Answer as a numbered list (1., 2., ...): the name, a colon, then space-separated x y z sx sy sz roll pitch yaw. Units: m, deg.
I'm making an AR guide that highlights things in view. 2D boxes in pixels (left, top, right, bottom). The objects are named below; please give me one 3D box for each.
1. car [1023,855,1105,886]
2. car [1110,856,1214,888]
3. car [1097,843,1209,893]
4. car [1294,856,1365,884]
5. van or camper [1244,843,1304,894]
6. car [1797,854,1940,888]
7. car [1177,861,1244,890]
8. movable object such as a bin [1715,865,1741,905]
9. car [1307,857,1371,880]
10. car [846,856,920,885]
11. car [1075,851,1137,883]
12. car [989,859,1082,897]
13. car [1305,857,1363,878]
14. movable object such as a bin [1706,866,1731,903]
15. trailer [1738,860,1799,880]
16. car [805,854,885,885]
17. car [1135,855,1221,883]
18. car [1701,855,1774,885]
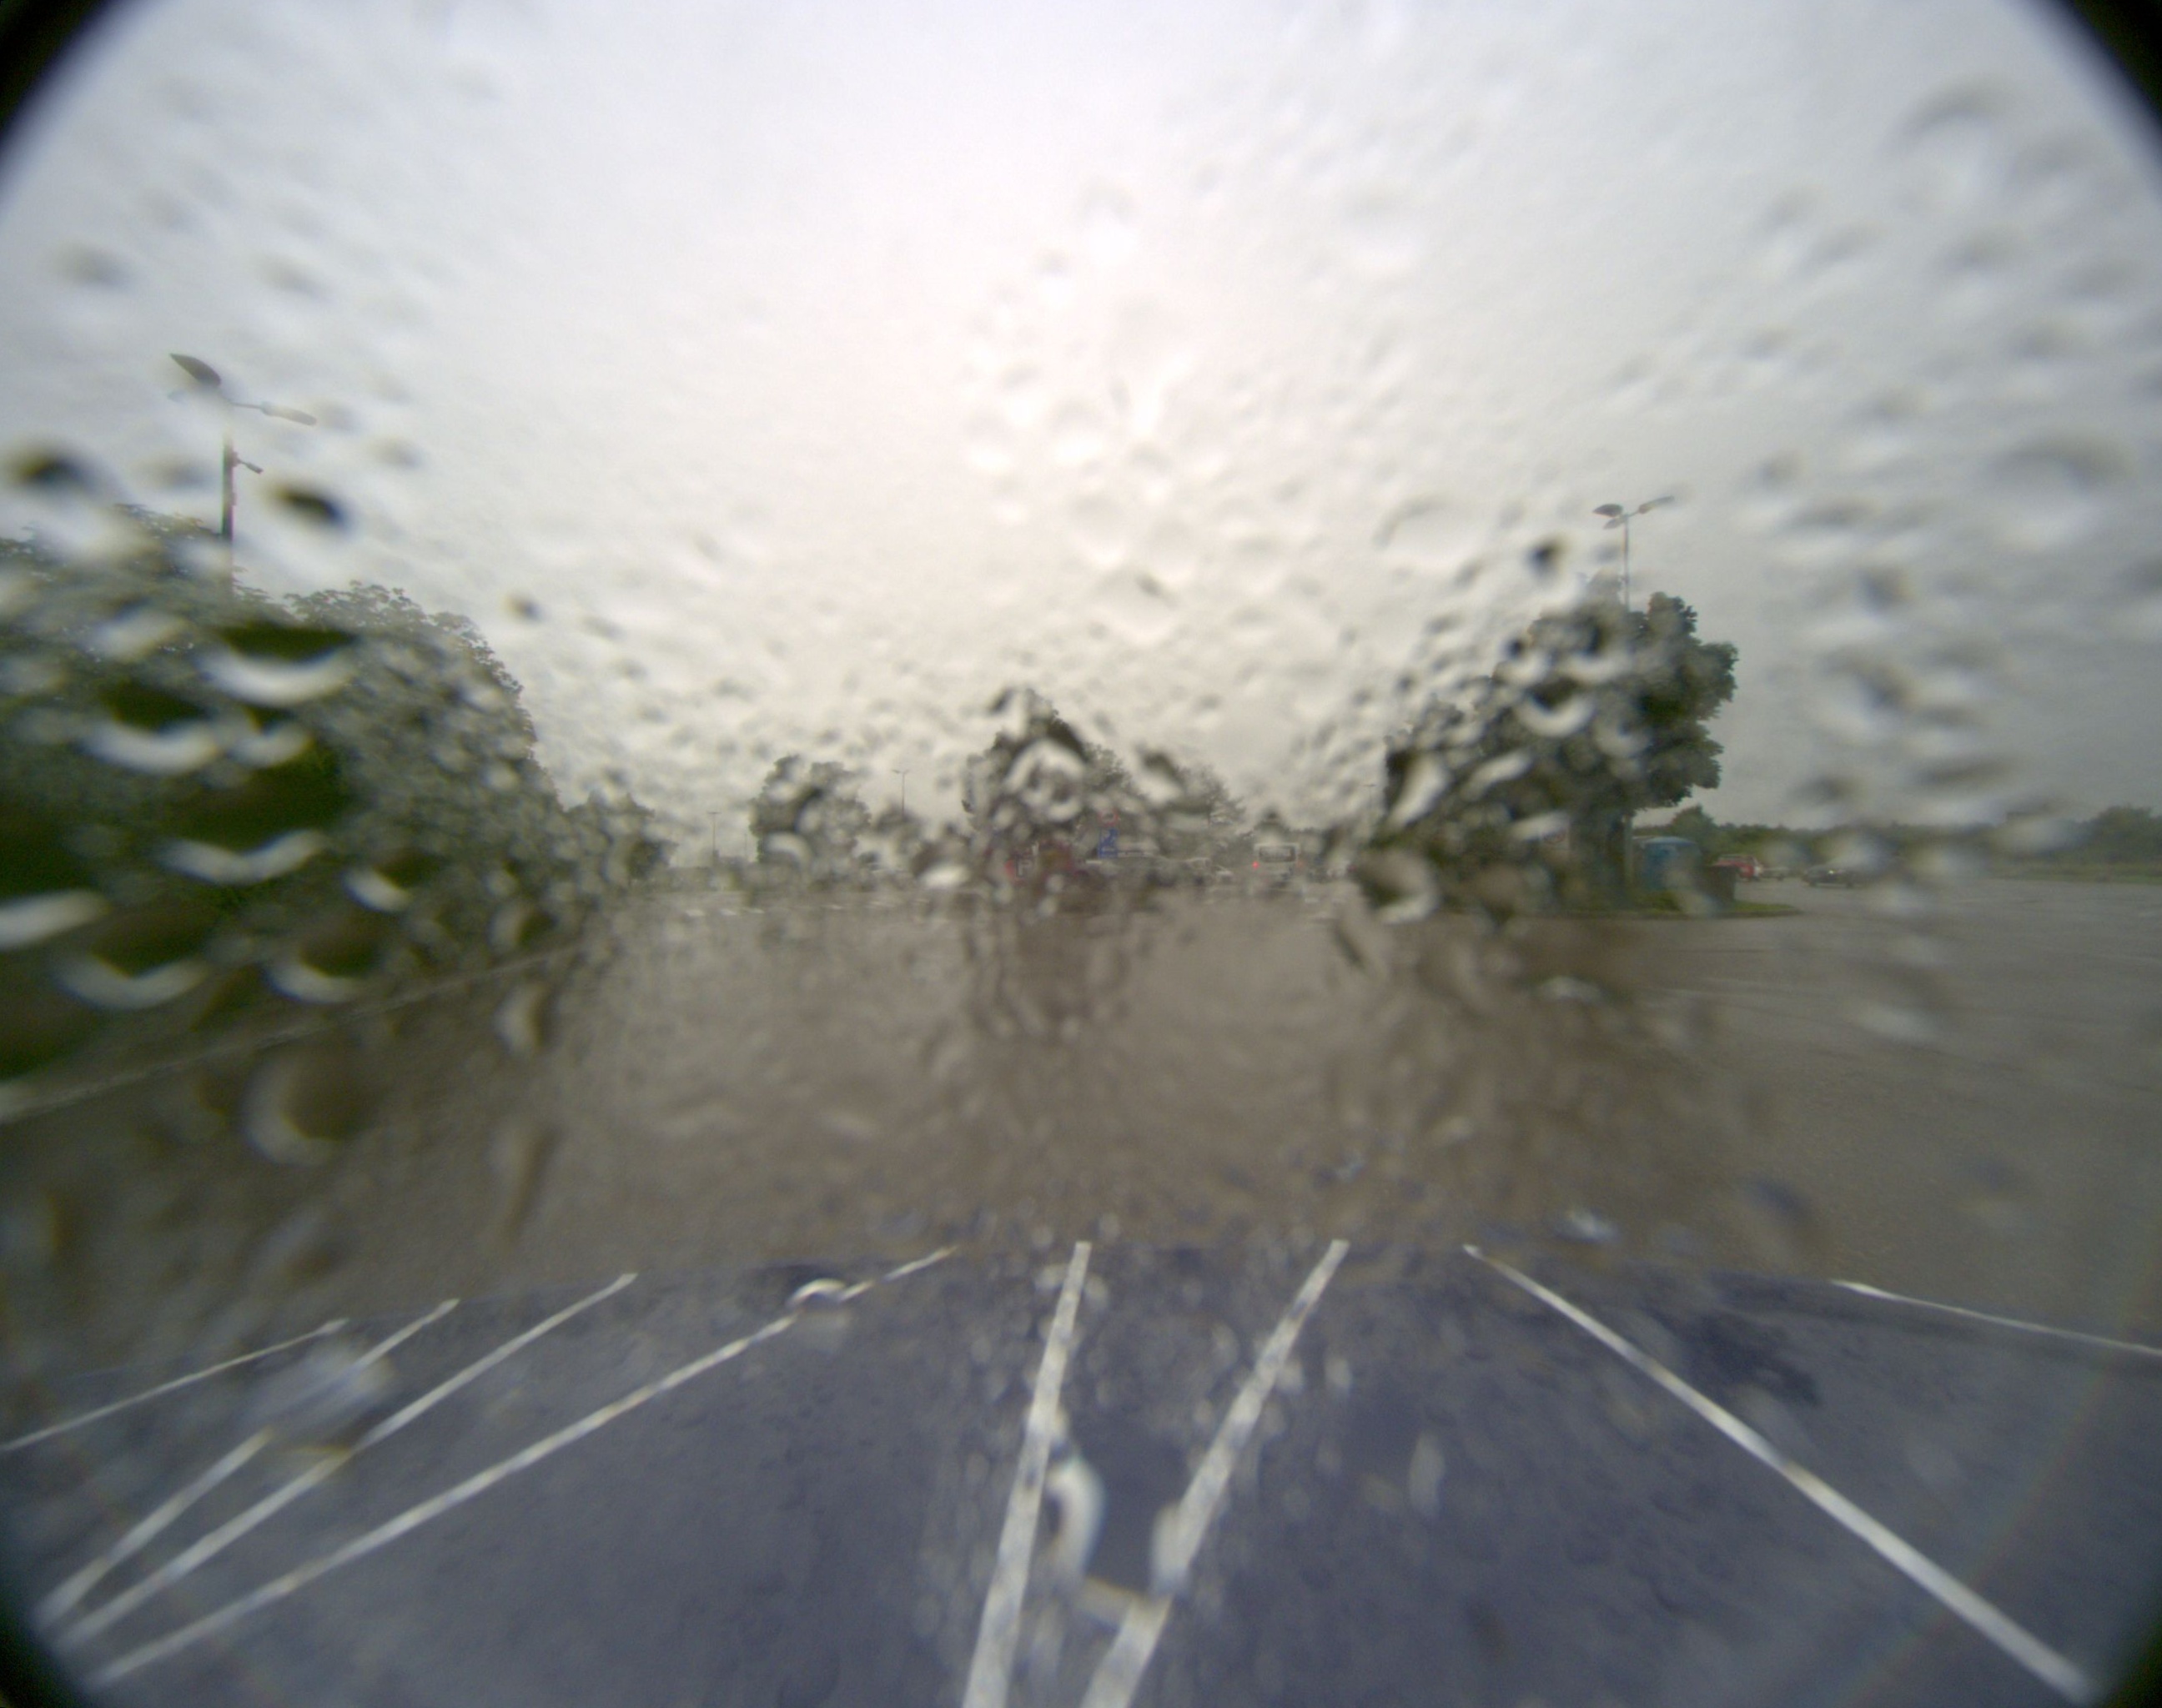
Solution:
1. car: -0.984 0.934 44.212 4.393 1.768 1.927 0 1 13
2. car: 3.966 0.854 37.109 4.758 1.464 1.888 0 1 16
3. car: 3.308 0.600 34.486 4.758 2.176 2.002 0 1 16
4. car: 15.241 0.967 46.795 4.086 1.619 1.788 0 1 16
5. van or camper: 7.936 0.586 31.365 2.191 1.933 5.203 0 -1 14
6. car: 34.940 0.740 33.852 4.069 1.425 1.782 0 0 21
7. car: 9.826 1.592 57.531 4.758 2.069 2.002 0 1 16
8. movable object such as a bin: 15.662 0.740 18.394 0.449 0.933 0.490 1 1 37
9. car: 17.521 0.973 51.780 4.086 1.488 1.768 0 1 16
10. car: -12.060 0.998 46.292 4.040 1.683 1.715 0 1 16
11. car: 1.650 0.844 49.527 3.779 2.002 1.789 -1 0 12
12. car: -2.324 1.198 39.012 4.393 1.874 1.927 0 1 13
13. car: 18.789 1.006 56.614 4.086 1.488 1.768 0 1 16
14. movable object such as a bin: 15.860 0.752 18.915 0.449 0.912 0.490 1 1 37
15. trailer: 39.359 0.913 43.522 3.035 1.061 1.585 1 -1 -26
16. car: -13.475 0.842 43.400 4.040 1.683 1.802 0 1 18
17. car: 5.780 0.871 45.151 4.758 1.578 2.002 0 1 16
18. car: 36.169 0.854 41.828 4.062 1.546 1.546 0 0 -26
